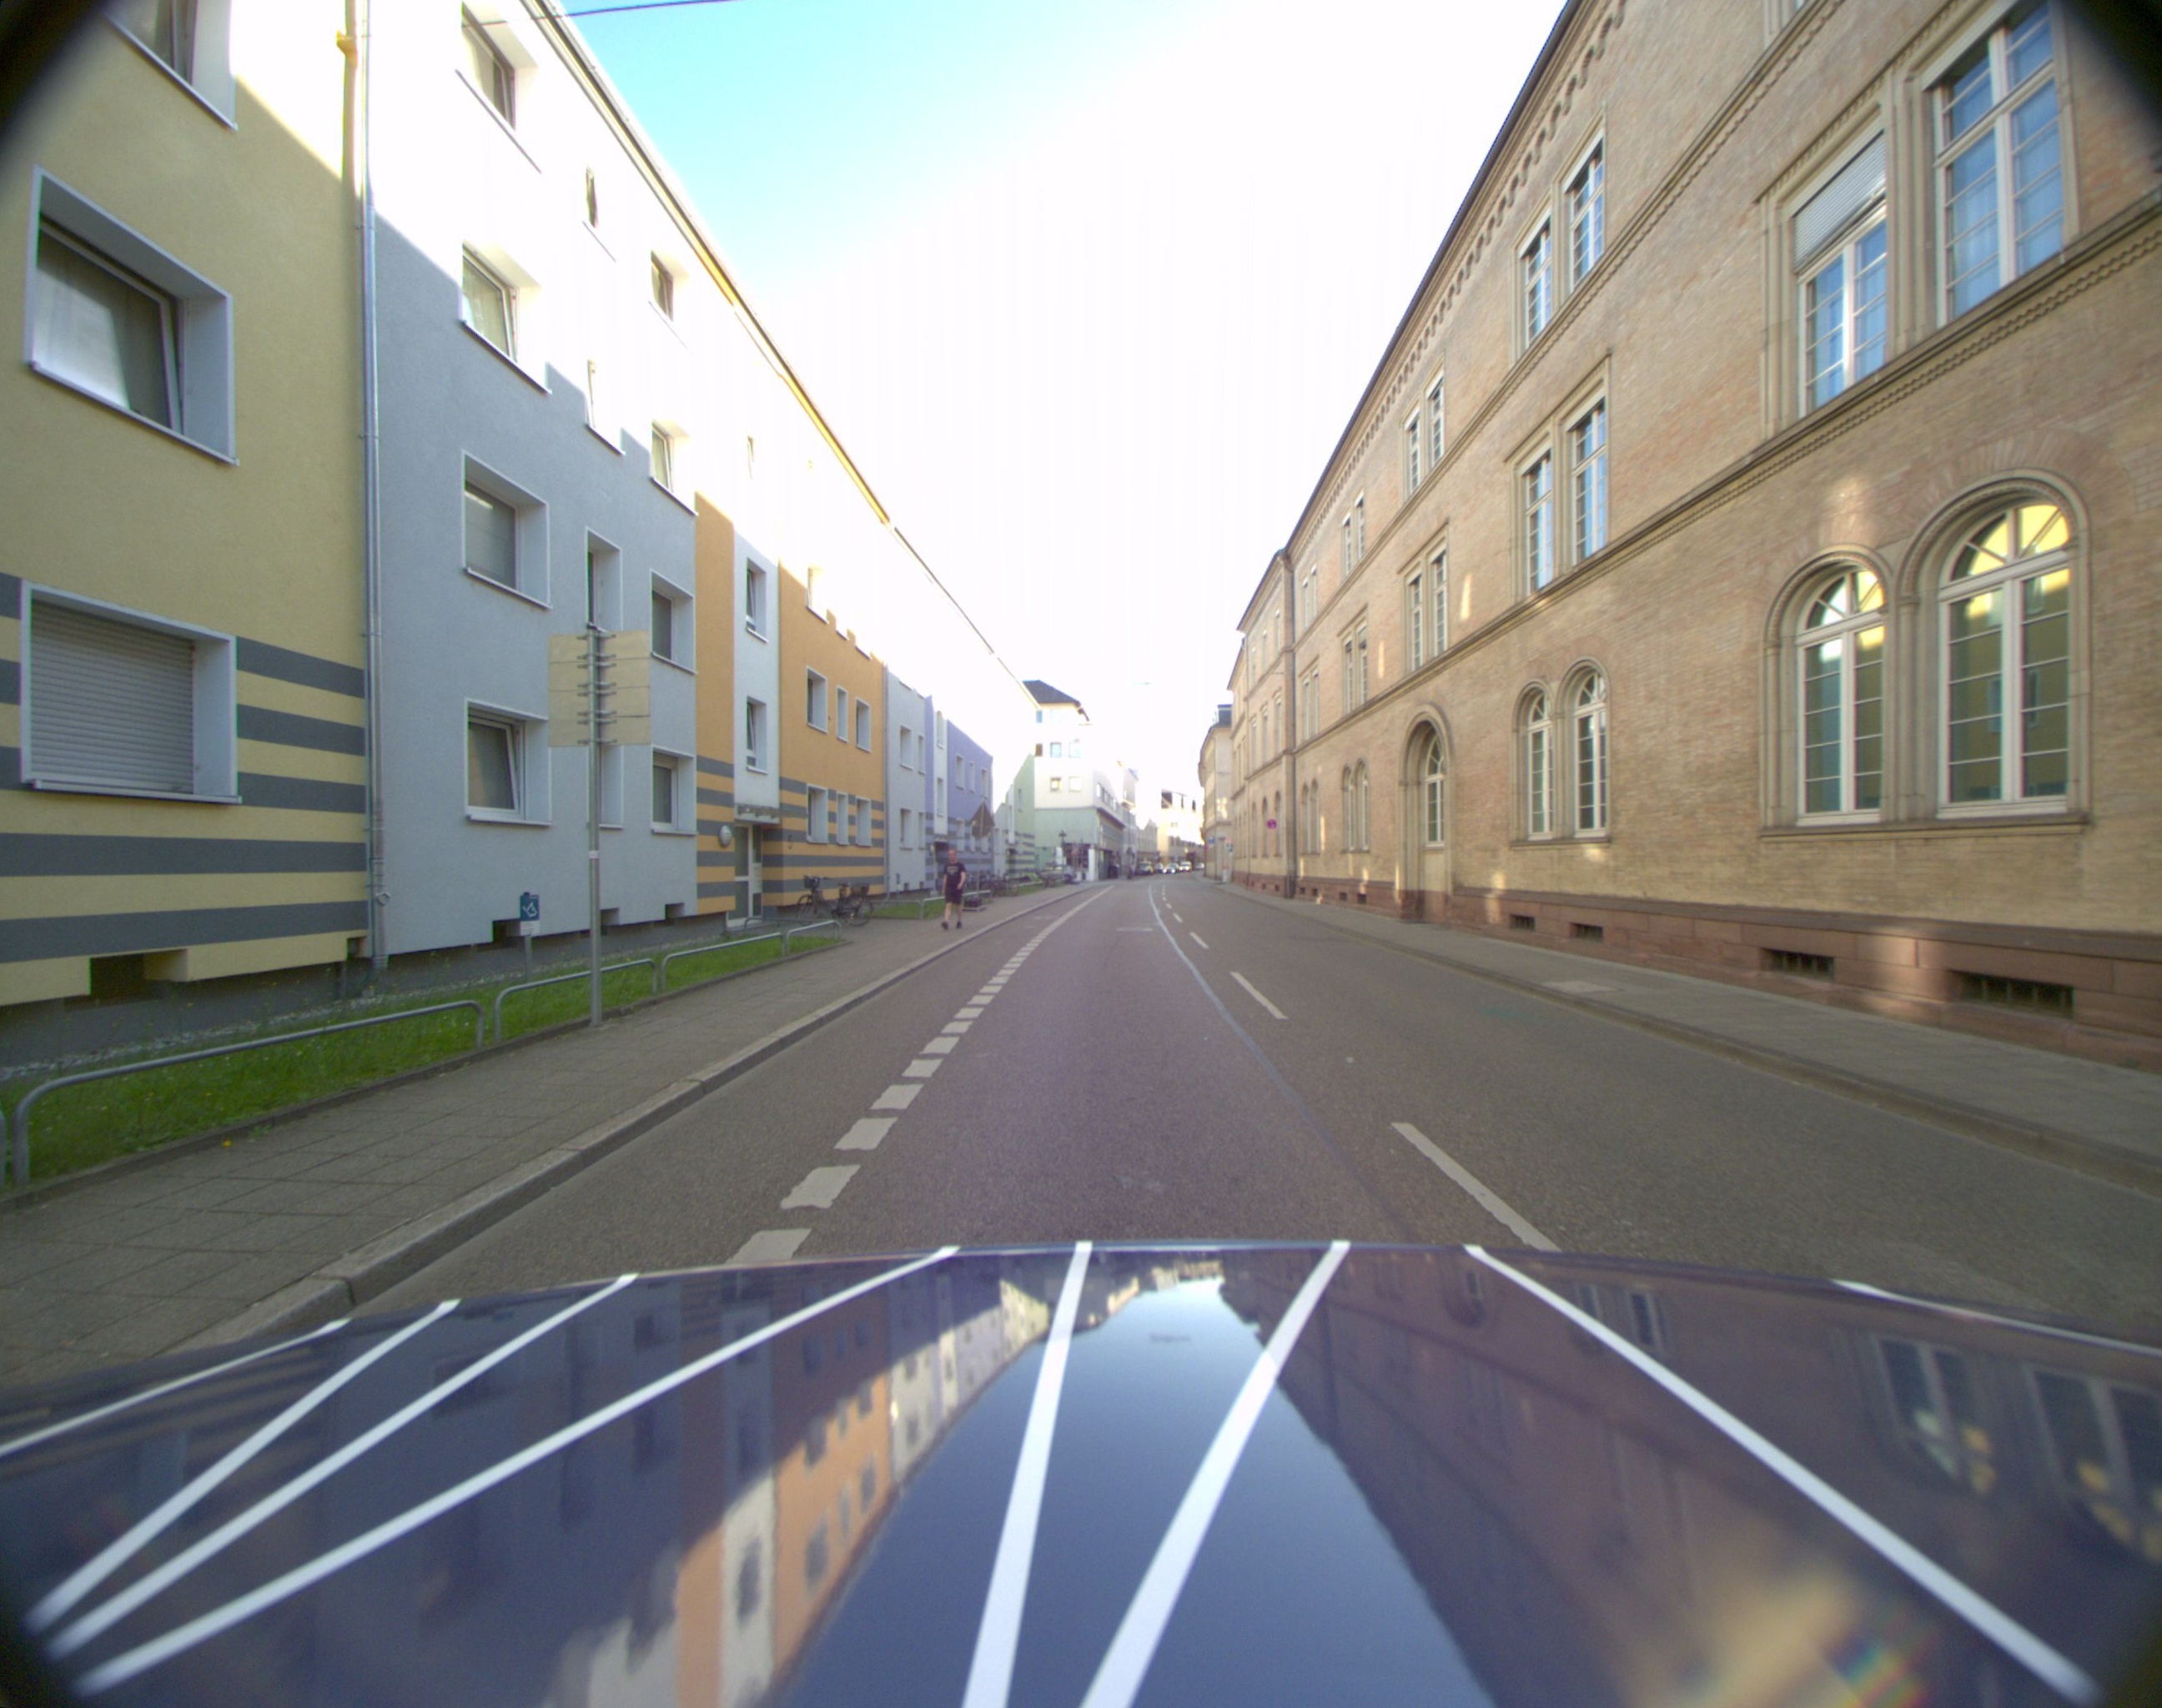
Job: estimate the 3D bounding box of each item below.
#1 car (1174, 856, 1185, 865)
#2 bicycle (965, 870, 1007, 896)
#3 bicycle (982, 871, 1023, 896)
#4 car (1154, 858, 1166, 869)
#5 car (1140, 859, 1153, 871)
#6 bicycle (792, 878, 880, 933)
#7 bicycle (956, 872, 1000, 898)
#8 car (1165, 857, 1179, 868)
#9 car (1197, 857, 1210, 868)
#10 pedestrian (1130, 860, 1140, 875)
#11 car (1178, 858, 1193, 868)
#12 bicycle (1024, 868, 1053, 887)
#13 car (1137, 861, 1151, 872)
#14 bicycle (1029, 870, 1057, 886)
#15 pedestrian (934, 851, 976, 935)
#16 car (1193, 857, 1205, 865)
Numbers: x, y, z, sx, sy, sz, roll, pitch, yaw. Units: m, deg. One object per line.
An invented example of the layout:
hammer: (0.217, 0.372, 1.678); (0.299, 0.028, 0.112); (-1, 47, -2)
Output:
car: (19.332, 1.311, 148.766); (1.534, 1.714, 3.744); (-1, 0, 16)
bicycle: (-4.062, 1.240, 32.551); (1.710, 1.075, 0.636); (1, 0, 1)
bicycle: (-3.428, 1.294, 33.315); (1.711, 1.029, 0.636); (1, 0, -2)
car: (12.688, 1.536, 121.687); (1.534, 1.714, 3.743); (-1, 0, 12)
car: (9.140, 1.499, 105.637); (1.535, 1.714, 3.741); (-1, 0, 8)
bicycle: (-5.356, 1.109, 16.651); (1.711, 1.152, 0.636); (1, 0, -2)
bicycle: (-4.261, 1.279, 31.407); (1.710, 1.039, 0.636); (1, 0, 2)
car: (14.282, 1.374, 119.427); (1.861, 1.714, 3.742); (0, 0, 10)
car: (19.382, 1.363, 120.073); (1.663, 1.714, 3.743); (0, 0, 14)
pedestrian: (5.400, 1.386, 76.161); (0.662, 1.509, 0.707); (-1, 0, -31)
car: (18.475, 1.657, 134.130); (1.920, 1.712, 4.966); (-1, 0, 16)
bicycle: (-2.571, 1.421, 45.675); (1.711, 1.097, 0.585); (1, 0, -2)
car: (8.330, 1.588, 100.359); (1.634, 1.405, 3.687); (-1, 0, 8)
bicycle: (-2.327, 1.494, 47.135); (1.711, 0.972, 0.516); (1, 0, -2)
pedestrian: (-2.787, 0.849, 16.856); (0.646, 1.778, 0.916); (3, 0, 3)
car: (25.399, 1.559, 163.058); (1.925, 1.714, 4.236); (0, 0, 18)
